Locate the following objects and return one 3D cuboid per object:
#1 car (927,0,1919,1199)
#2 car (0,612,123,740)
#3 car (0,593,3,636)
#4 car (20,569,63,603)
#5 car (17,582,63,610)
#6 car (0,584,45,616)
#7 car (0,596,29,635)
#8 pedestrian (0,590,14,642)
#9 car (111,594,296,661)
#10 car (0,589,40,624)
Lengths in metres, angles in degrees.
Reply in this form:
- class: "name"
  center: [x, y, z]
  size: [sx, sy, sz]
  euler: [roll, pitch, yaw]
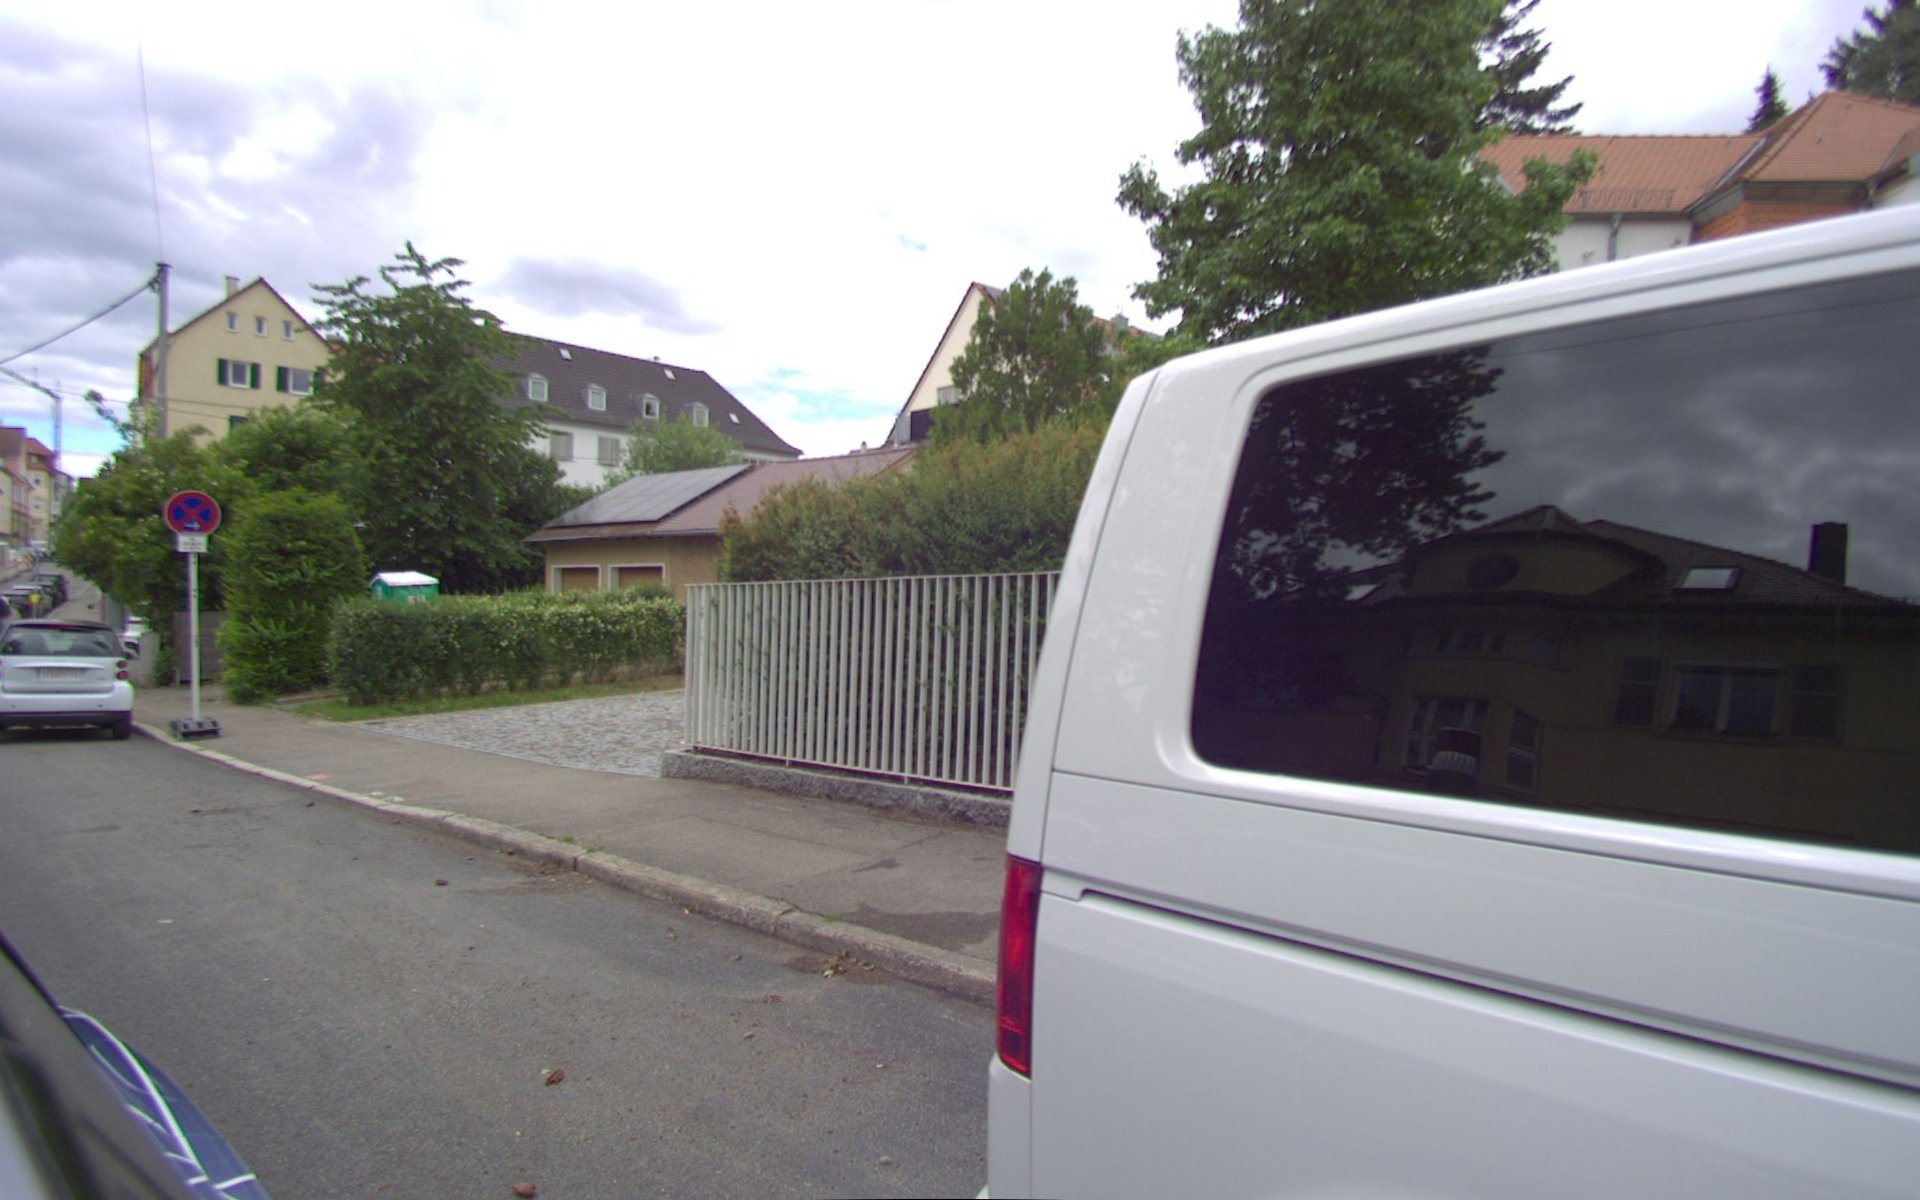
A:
- class: "car"
  center: [2.291, 0.489, 0.688]
  size: [4.617, 1.928, 1.835]
  euler: [-1, -3, 41]
- class: "car"
  center: [-12.373, 0.980, 13.664]
  size: [1.425, 1.564, 2.772]
  euler: [5, -4, -42]
- class: "car"
  center: [-37.828, 0.568, 38.436]
  size: [1.781, 1.672, 4.159]
  euler: [2, -1, -38]
- class: "car"
  center: [-55.267, -0.848, 60.936]
  size: [1.727, 1.810, 4.157]
  euler: [2, 2, -41]
- class: "car"
  center: [-51.817, -0.256, 57.035]
  size: [1.618, 1.409, 3.711]
  euler: [2, 1, -38]
- class: "car"
  center: [-49.612, -0.032, 53.431]
  size: [1.618, 1.439, 4.132]
  euler: [3, 1, -38]
- class: "car"
  center: [-40.602, 0.620, 42.731]
  size: [1.586, 1.464, 3.621]
  euler: [4, -1, -38]
- class: "pedestrian"
  center: [-33.257, 0.542, 34.901]
  size: [0.643, 1.773, 0.812]
  euler: [0, 1, 38]
- class: "car"
  center: [-22.010, 0.736, 29.709]
  size: [1.811, 1.667, 4.510]
  euler: [-1, 2, 4]
- class: "car"
  center: [-46.050, 0.281, 49.097]
  size: [1.779, 1.491, 4.338]
  euler: [1, 1, -38]
